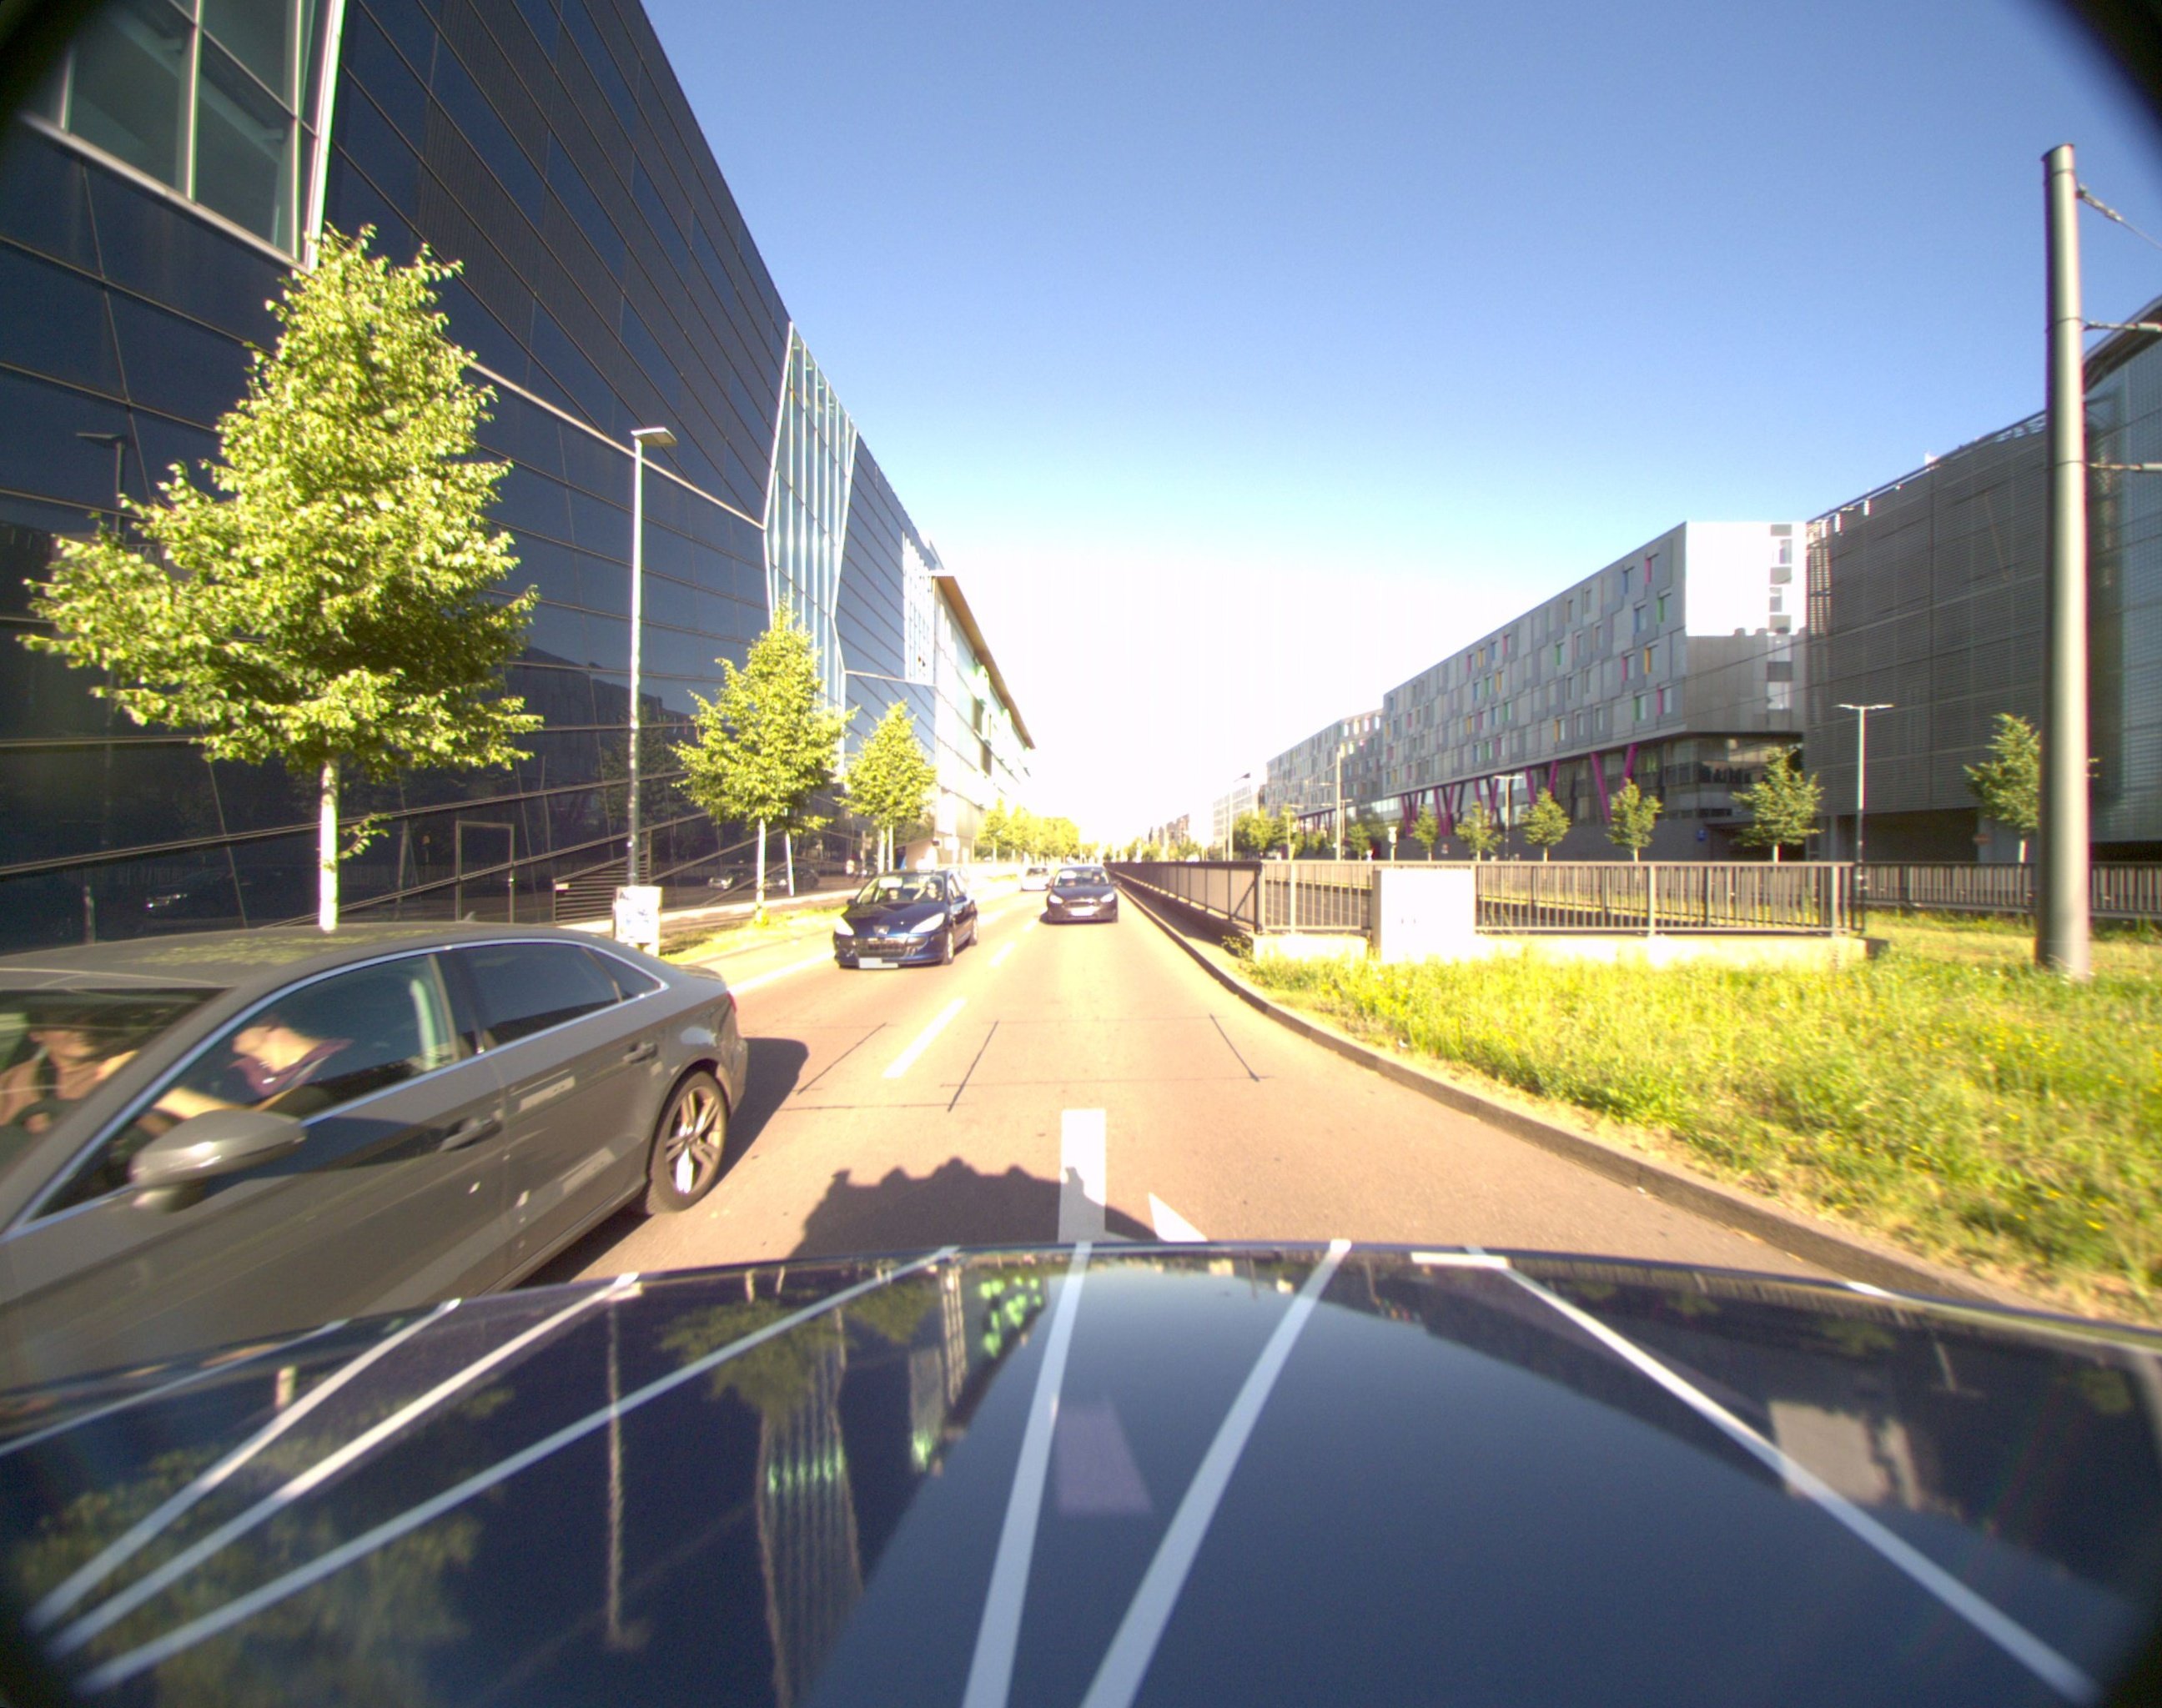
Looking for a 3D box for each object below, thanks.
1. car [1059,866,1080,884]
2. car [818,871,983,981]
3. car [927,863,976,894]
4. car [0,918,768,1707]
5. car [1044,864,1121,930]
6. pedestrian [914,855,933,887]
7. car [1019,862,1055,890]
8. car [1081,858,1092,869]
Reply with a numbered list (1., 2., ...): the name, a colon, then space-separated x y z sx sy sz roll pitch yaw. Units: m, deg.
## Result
1. car: -1.130 1.993 74.115 1.907 1.612 4.000 0 0 1
2. car: -2.830 1.070 12.797 1.753 1.469 3.972 -1 0 1
3. car: -6.812 1.246 40.512 1.740 1.489 4.716 2 0 1
4. car: -2.696 1.065 2.033 1.750 1.384 4.265 -1 0 3
5. car: 0.064 1.051 20.236 1.787 1.499 4.590 -1 0 1
6. pedestrian: -9.070 0.967 43.734 0.828 1.814 0.905 3 0 0
7. car: -2.453 1.198 43.044 1.753 1.469 3.418 -1 0 1
8. car: 1.144 1.886 153.701 1.998 2.002 4.000 -2 0 1
